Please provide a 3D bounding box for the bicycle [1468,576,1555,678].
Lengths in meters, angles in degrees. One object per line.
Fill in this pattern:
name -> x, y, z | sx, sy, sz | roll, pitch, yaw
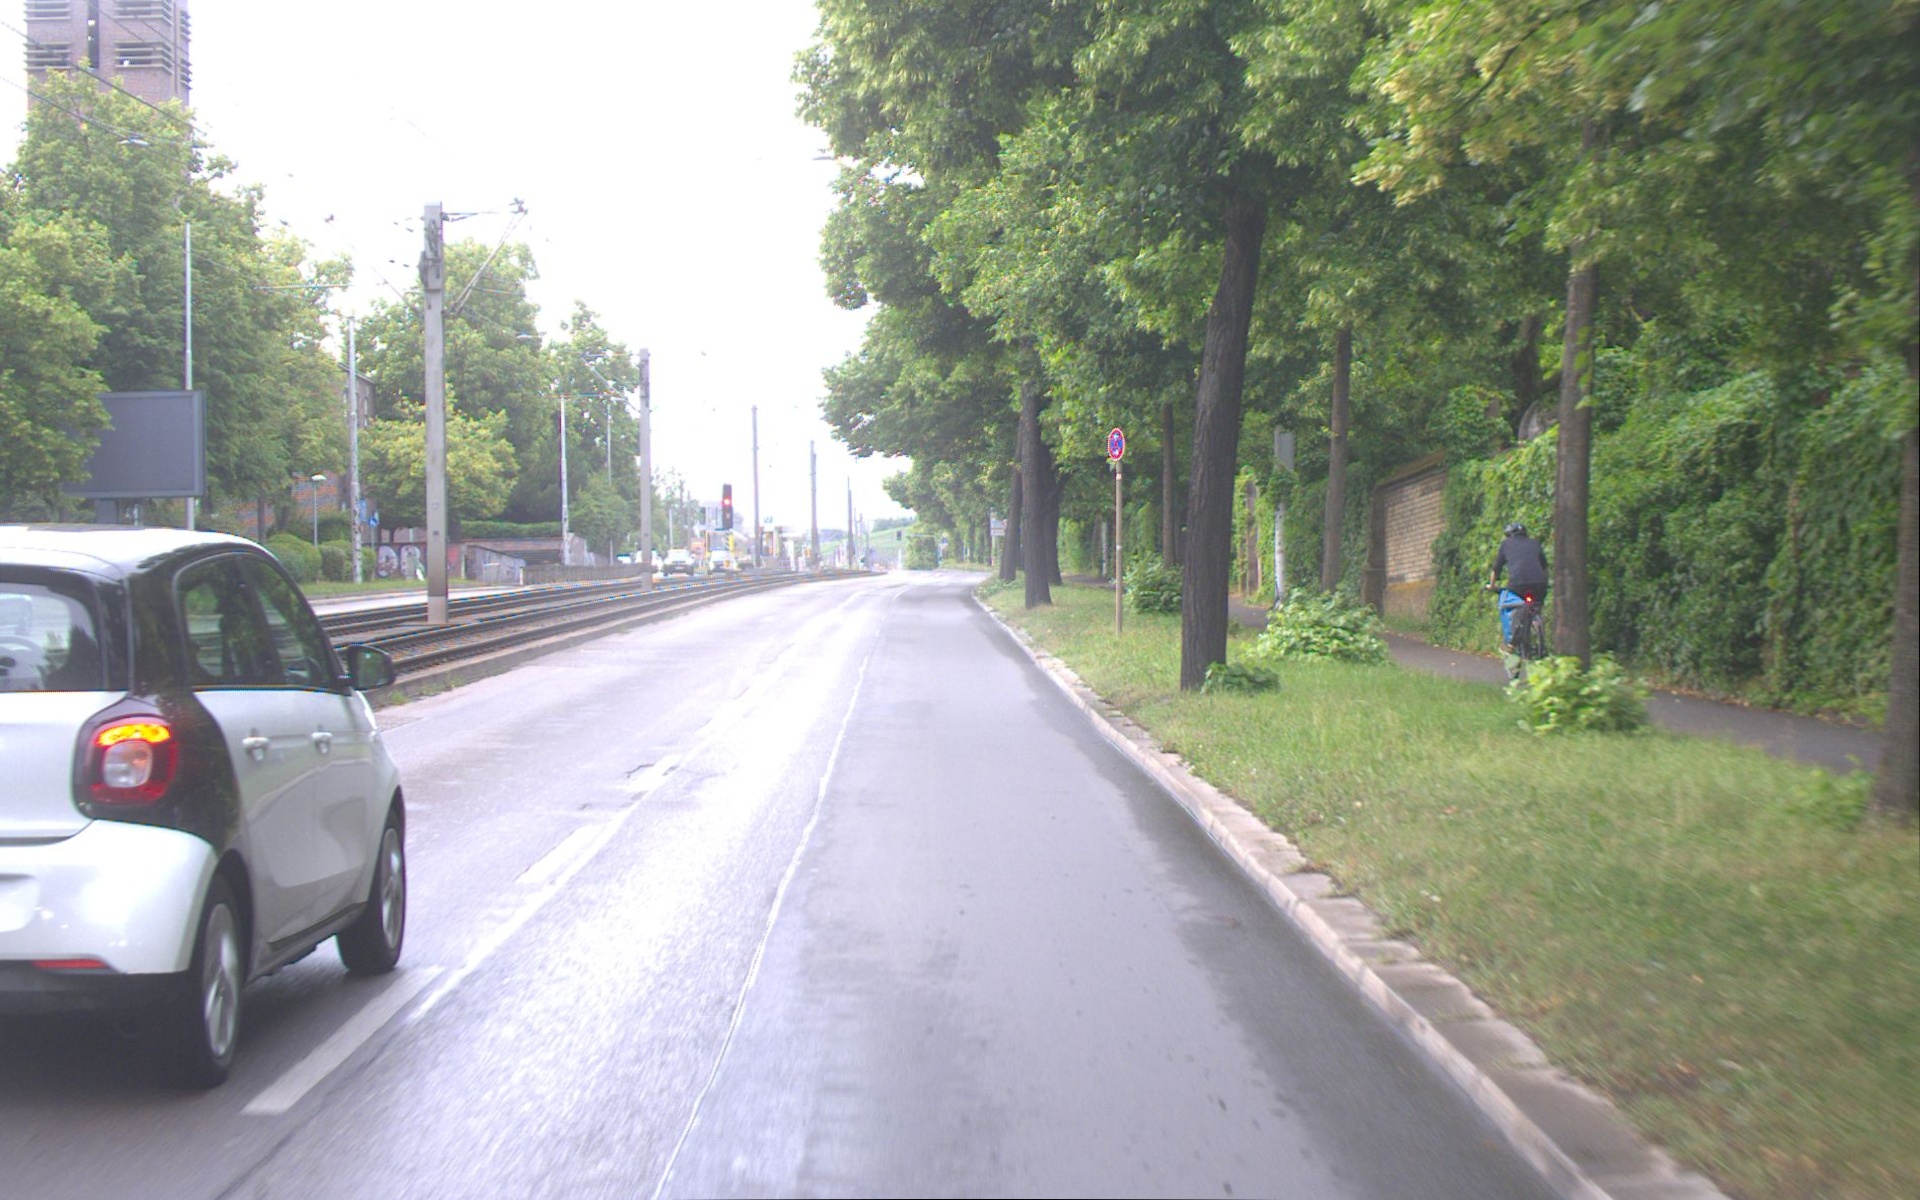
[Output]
bicycle -> 5.443, 0.248, 34.028 | 0.543, 0.945, 2.549 | -1, 1, 3

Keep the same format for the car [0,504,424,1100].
car -> -2.821, 0.493, 10.702 | 1.676, 1.525, 3.722 | -1, 1, 0

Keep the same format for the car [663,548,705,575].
car -> -17.453, -2.460, 217.835 | 2.013, 1.650, 4.616 | -1, 1, 3

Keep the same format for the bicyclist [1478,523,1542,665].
bicyclist -> 5.446, -0.067, 34.067 | 0.535, 1.385, 0.666 | -1, 1, 2

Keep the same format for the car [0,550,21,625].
car -> -20.432, -0.227, 69.453 | 1.794, 1.525, 4.622 | -1, 1, -2
